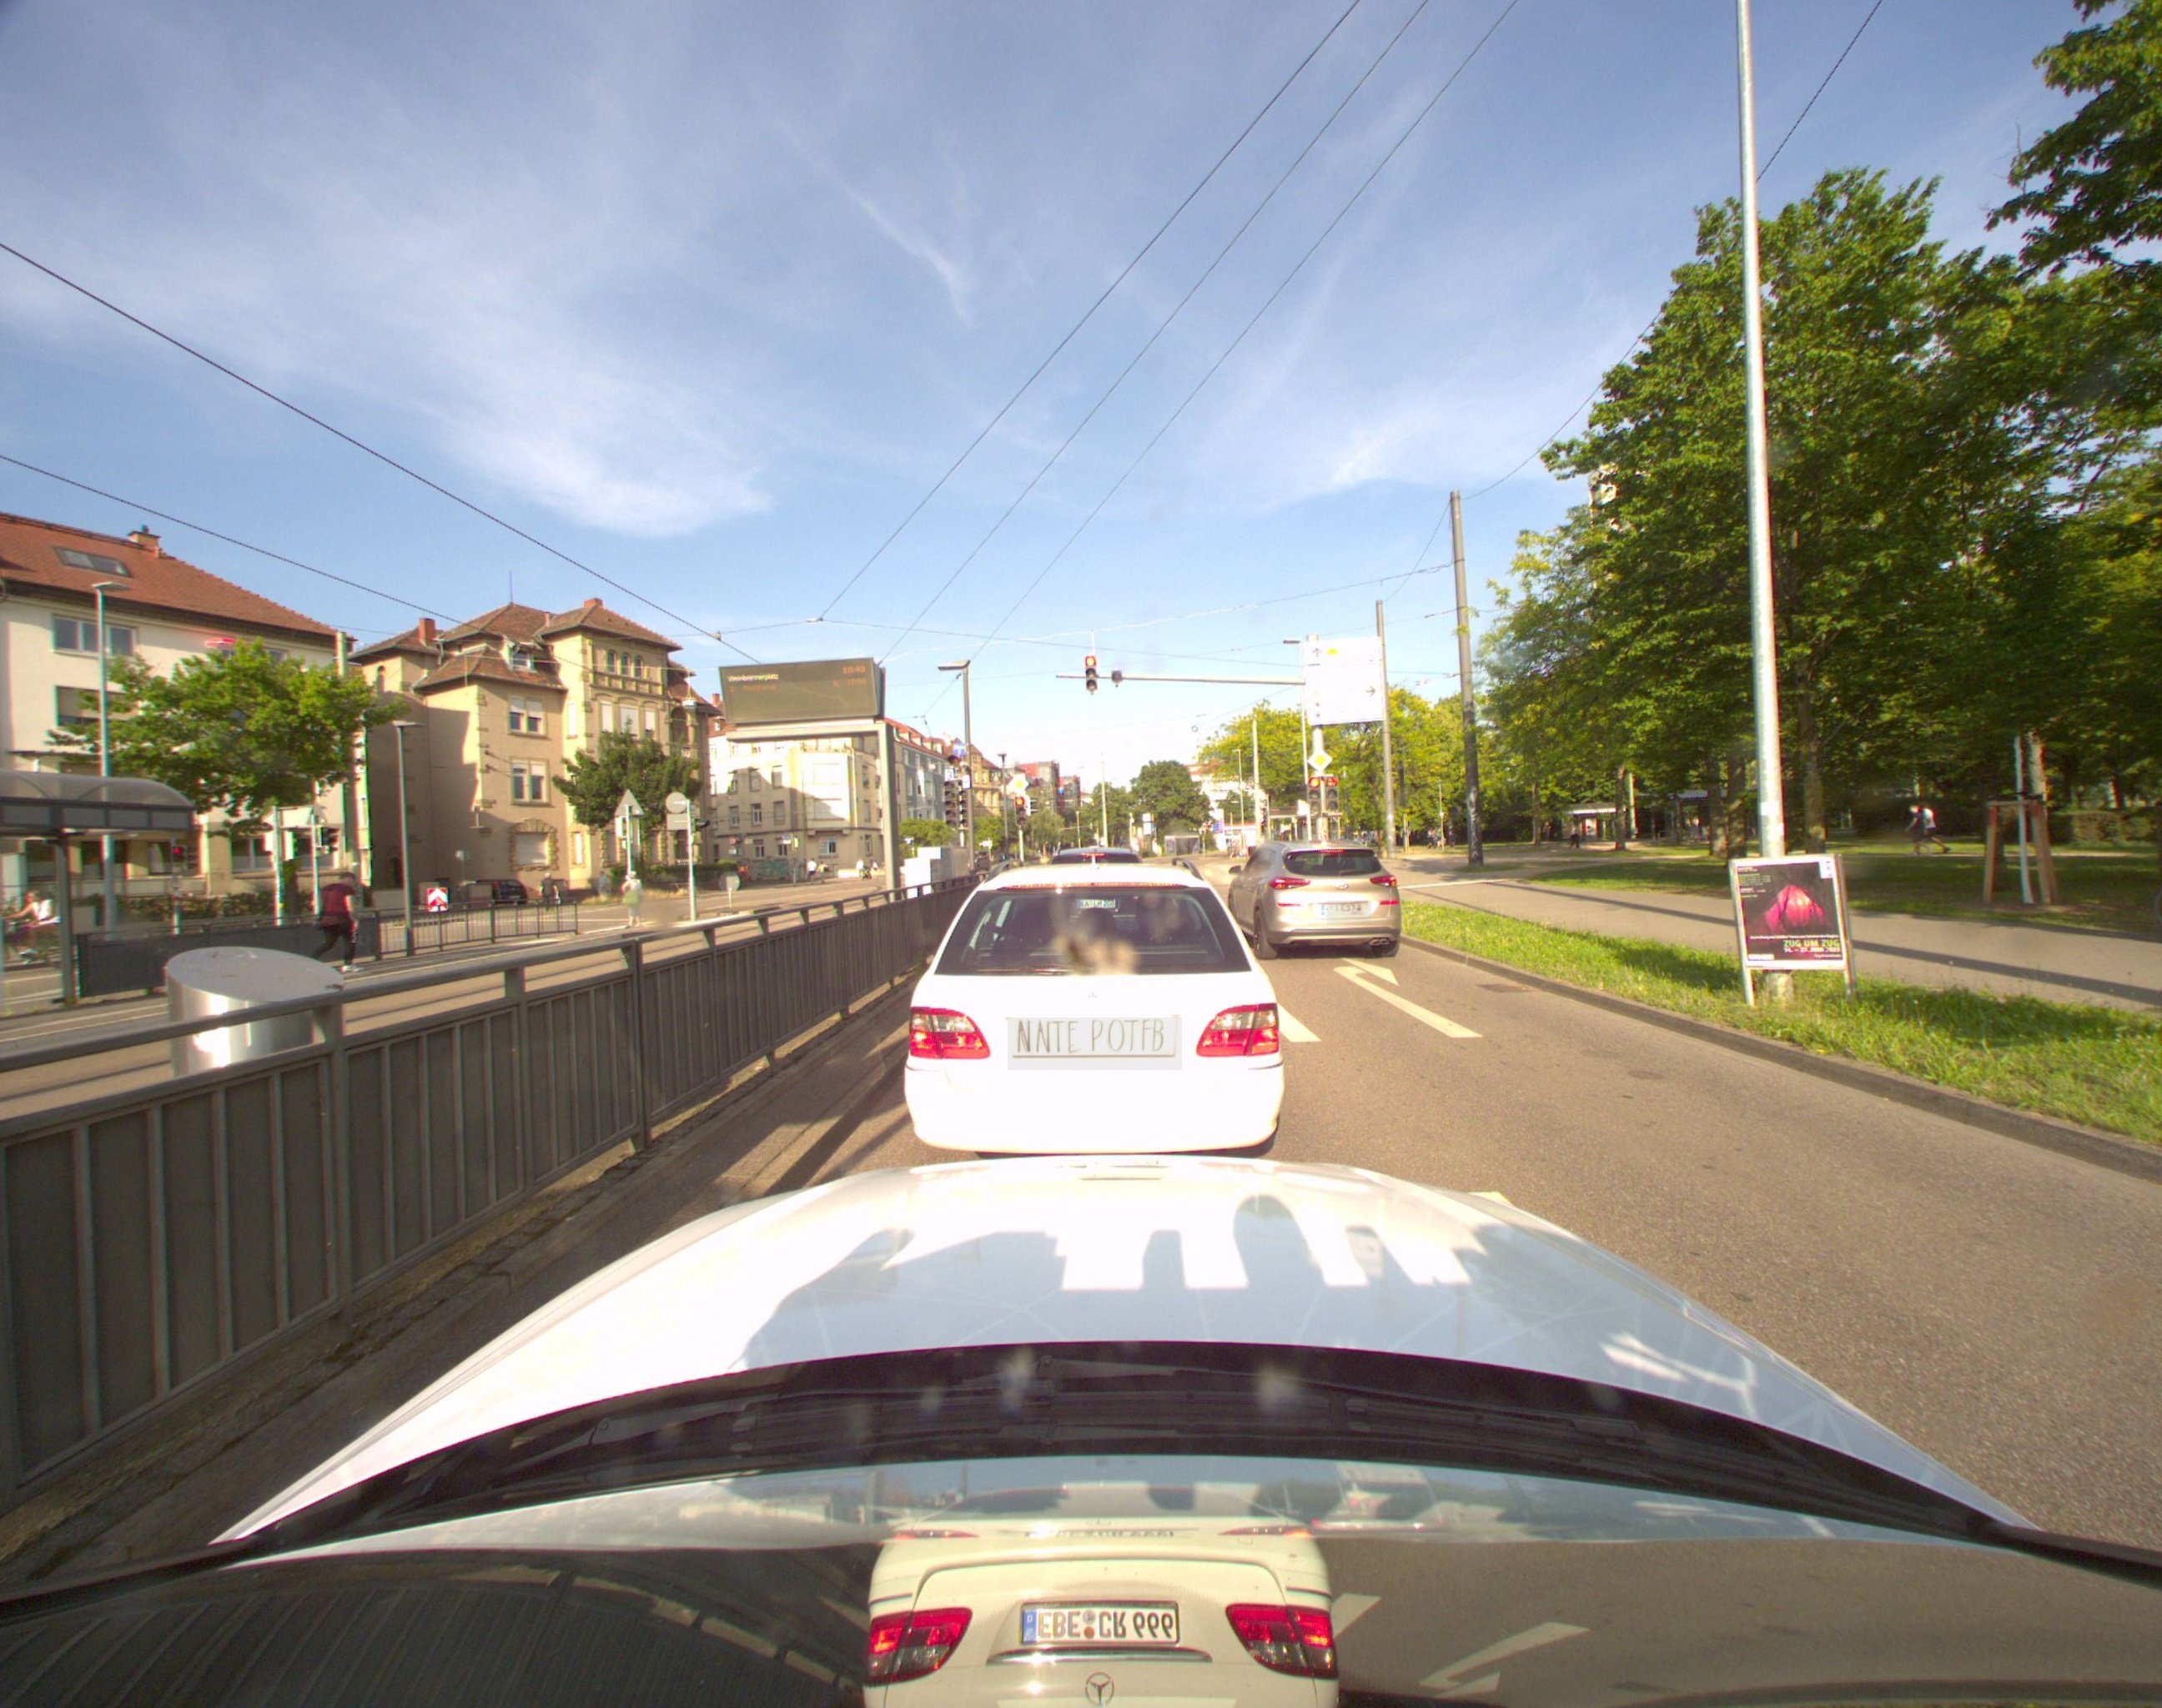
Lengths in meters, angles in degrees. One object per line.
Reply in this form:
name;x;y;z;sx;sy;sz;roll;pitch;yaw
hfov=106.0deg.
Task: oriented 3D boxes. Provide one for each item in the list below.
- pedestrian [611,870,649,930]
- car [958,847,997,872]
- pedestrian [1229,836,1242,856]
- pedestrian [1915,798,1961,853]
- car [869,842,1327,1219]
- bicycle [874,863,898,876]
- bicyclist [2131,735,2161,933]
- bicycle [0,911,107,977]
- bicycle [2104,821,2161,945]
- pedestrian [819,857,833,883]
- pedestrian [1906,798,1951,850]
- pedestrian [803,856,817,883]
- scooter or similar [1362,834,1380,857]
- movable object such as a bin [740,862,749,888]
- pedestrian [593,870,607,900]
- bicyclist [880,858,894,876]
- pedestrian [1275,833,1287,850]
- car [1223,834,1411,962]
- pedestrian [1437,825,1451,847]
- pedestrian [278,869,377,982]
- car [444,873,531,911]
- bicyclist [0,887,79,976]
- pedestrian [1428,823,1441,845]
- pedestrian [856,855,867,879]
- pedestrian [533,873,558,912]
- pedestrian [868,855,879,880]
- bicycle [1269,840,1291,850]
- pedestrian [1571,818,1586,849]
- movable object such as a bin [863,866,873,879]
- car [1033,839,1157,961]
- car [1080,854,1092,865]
pedestrian;-12.567;1.266;22.701;0.588;1.589;0.715;-3;0;-2
car;-9.231;0.461;73.046;2.135;2.013;5.396;-3;0;6
pedestrian;15.551;-0.790;82.074;0.986;2.013;0.833;-3;0;29
pedestrian;30.051;-0.991;28.562;0.668;1.897;0.880;-1;0;3
car;0.126;0.711;5.210;1.828;1.501;3.817;-1;0;2
bicycle;-17.201;1.375;71.762;1.997;1.006;0.737;-3;0;-20
bicyclist;9.820;-0.202;6.715;0.716;1.745;1.142;-6;0;5
bicycle;-20.740;1.758;16.077;0.722;1.110;1.866;0;0;3
bicycle;9.928;0.252;6.787;0.637;1.088;1.736;-5;0;6
pedestrian;-18.555;1.152;59.233;0.672;1.848;0.649;-3;0;-1
pedestrian;29.379;-1.023;28.243;0.668;1.777;0.881;-1;0;3
pedestrian;-19.671;1.123;59.059;0.653;1.881;0.629;-3;0;16
scooter or similar;16.114;-0.448;45.226;0.351;1.232;1.131;-3;0;-12
movable object such as a bin;-23.419;1.456;56.674;0.265;1.709;2.360;-3;0;-29
pedestrian;-25.257;1.622;42.745;0.400;1.515;0.392;-3;0;28
bicyclist;-17.135;1.152;71.774;1.044;1.569;0.656;-3;0;-23
pedestrian;19.818;-1.223;80.748;0.998;1.591;0.870;-3;0;21
car;3.339;0.556;12.295;1.828;1.600;3.817;-1;0;2
pedestrian;27.667;-1.353;62.076;0.638;1.665;0.691;-3;0;1
pedestrian;-11.832;1.094;12.818;0.668;1.670;0.883;-3;0;-1
car;-29.495;1.886;40.464;3.950;1.632;1.787;-3;1;26
bicyclist;-20.721;1.496;16.007;0.702;1.624;1.073;0;1;3
pedestrian;27.442;-1.537;63.257;0.638;1.665;0.691;-3;0;1
pedestrian;-17.323;1.007;64.239;0.582;1.881;0.627;-3;0;4
pedestrian;-23.451;1.688;35.650;0.672;1.651;0.608;-3;0;28
pedestrian;-16.366;1.050;64.344;0.582;1.880;0.627;-3;3;-1
bicycle;19.725;-0.883;80.791;2.000;0.947;0.884;-3;0;21
pedestrian;30.001;-1.220;49.123;0.464;1.868;0.599;0;-1;-35
movable object such as a bin;-17.048;1.463;65.112;0.581;0.947;0.663;-3;0;0
car;0.246;0.607;12.794;1.635;1.600;3.817;-1;0;2
car;0.864;0.875;130.421;1.670;1.525;4.128;-3;1;3
